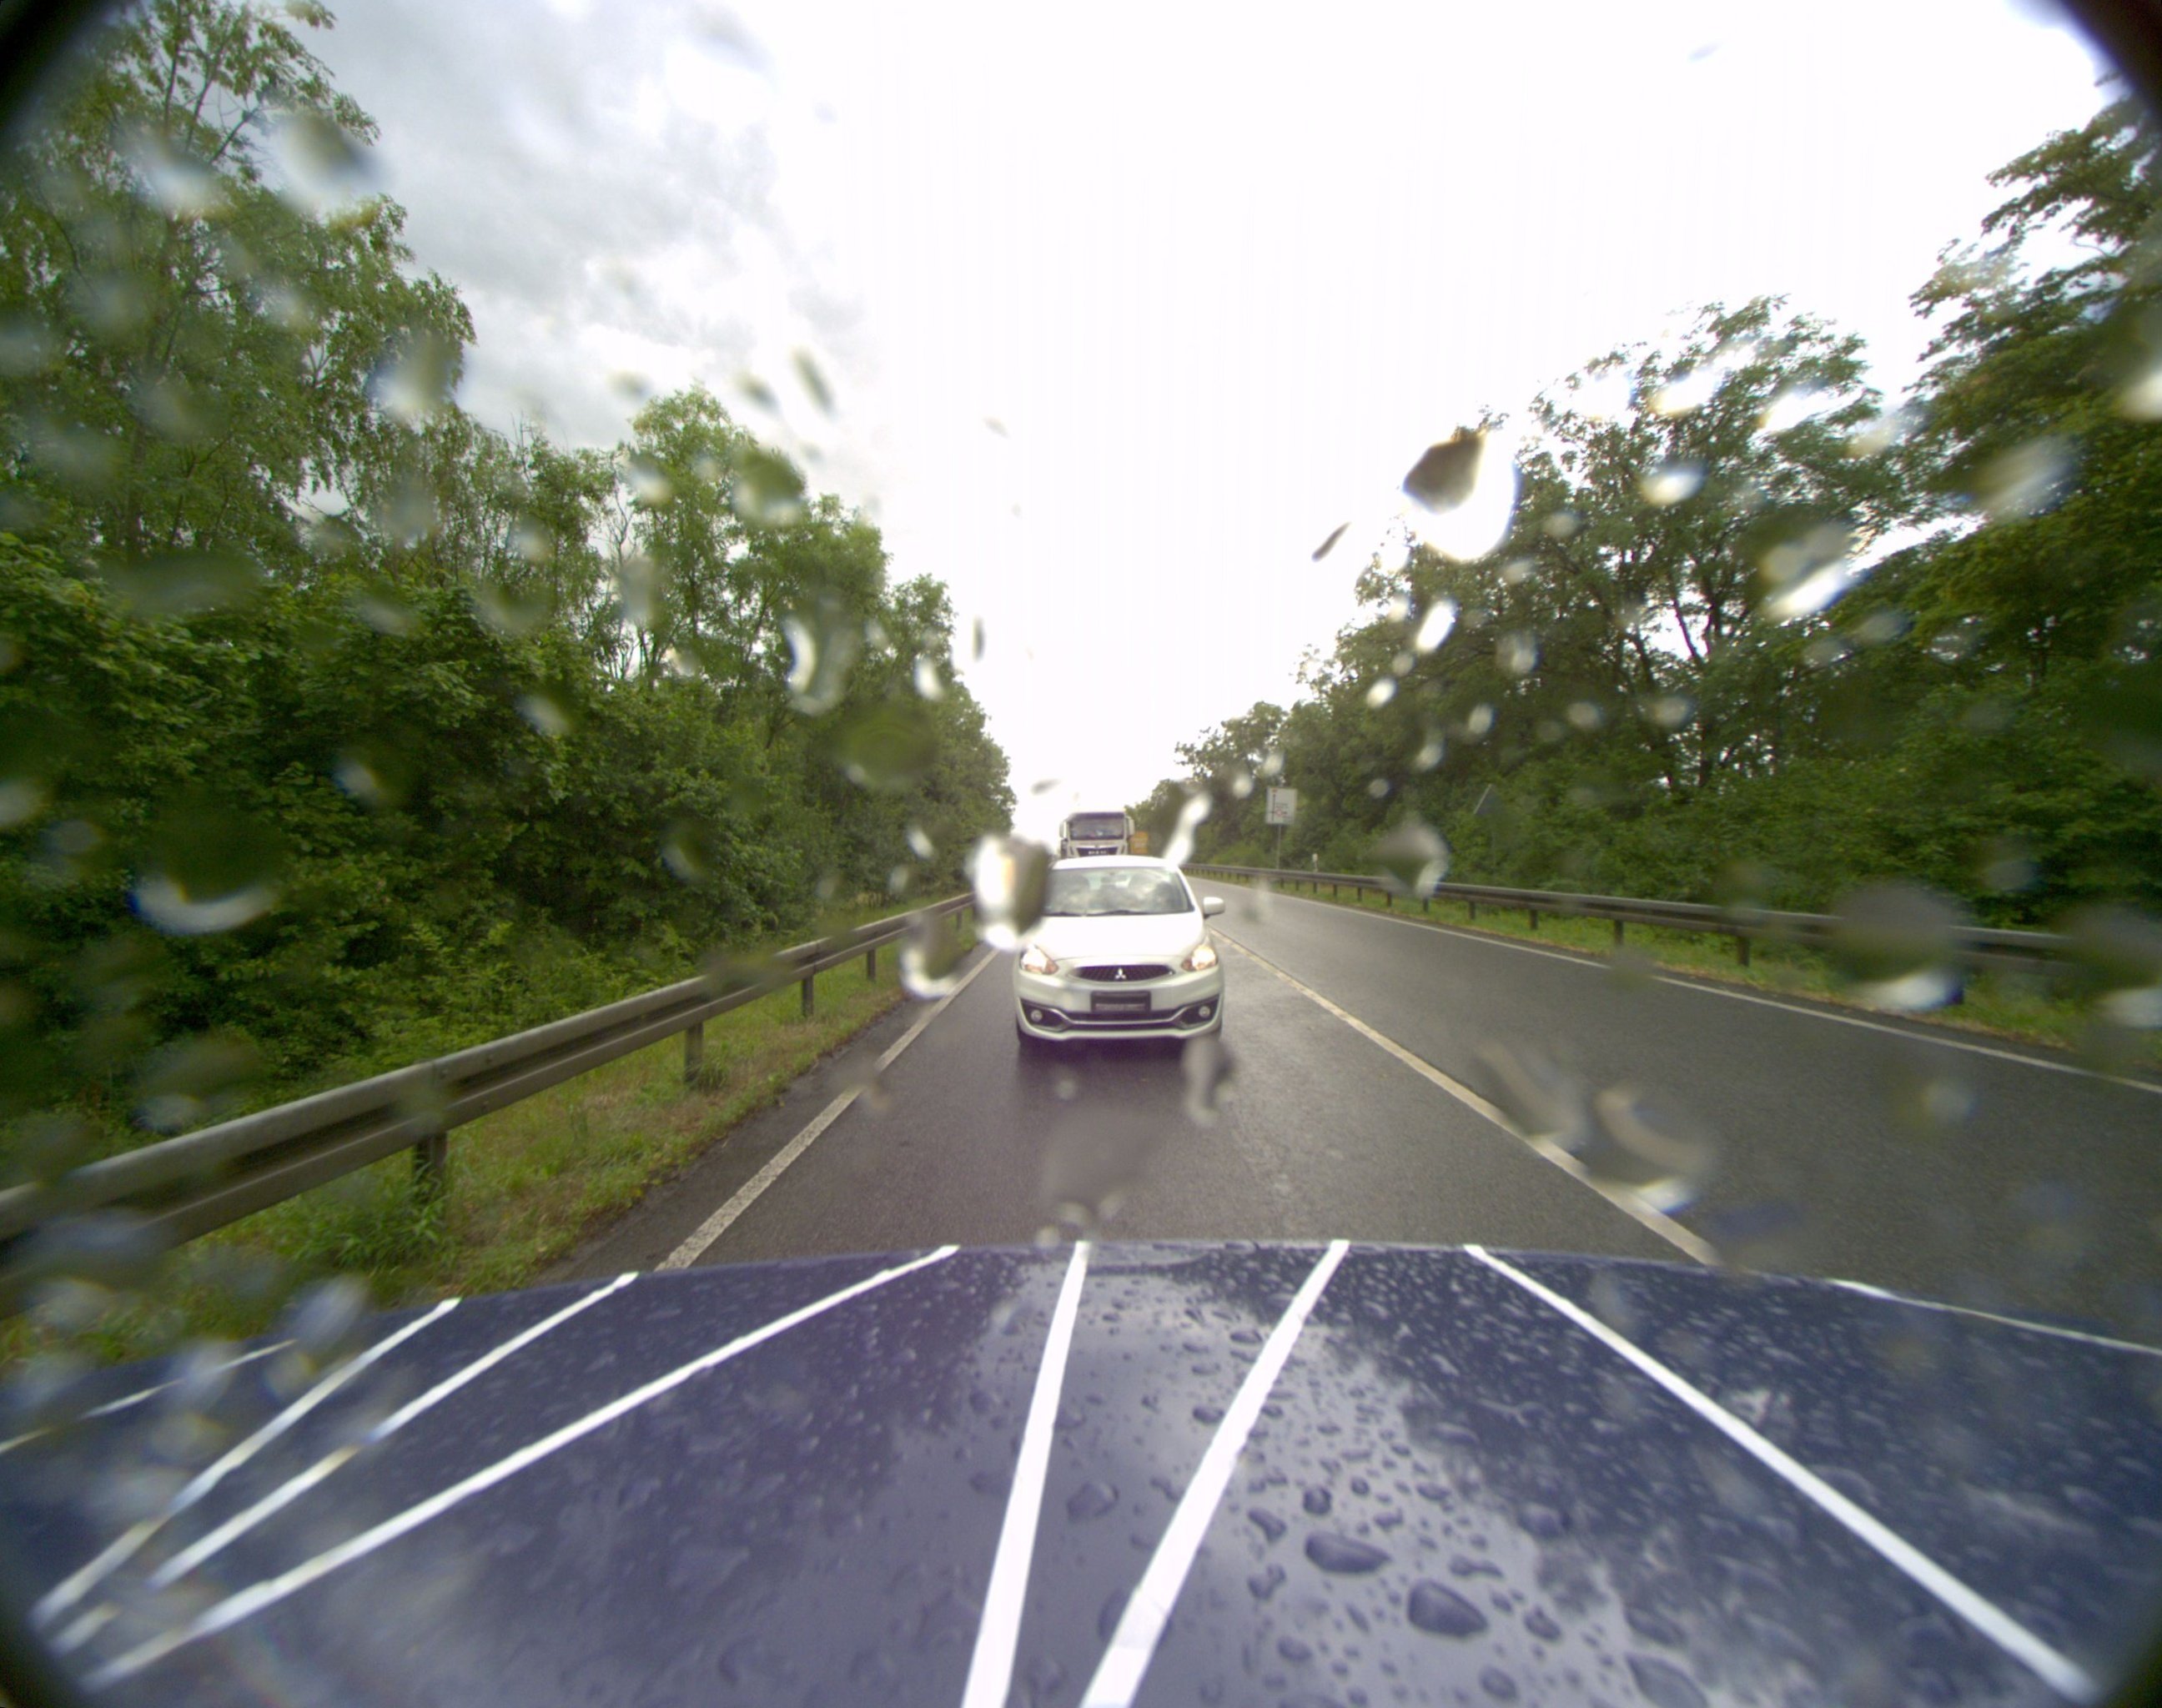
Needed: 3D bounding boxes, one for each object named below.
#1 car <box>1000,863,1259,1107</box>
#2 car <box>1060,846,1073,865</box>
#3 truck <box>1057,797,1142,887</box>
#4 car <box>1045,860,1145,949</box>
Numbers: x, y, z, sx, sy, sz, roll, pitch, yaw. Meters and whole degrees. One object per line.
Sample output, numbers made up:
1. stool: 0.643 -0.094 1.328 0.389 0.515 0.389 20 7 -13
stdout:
1. car: 0.327 0.868 6.996 1.610 1.435 4.209 -2 0 0
2. car: -1.986 0.193 105.468 1.613 2.422 3.999 -2 1 0
3. truck: 0.711 -0.532 33.852 3.136 3.364 9.281 -2 1 0
4. car: 0.304 0.880 15.207 1.640 1.413 4.492 -2 0 2
